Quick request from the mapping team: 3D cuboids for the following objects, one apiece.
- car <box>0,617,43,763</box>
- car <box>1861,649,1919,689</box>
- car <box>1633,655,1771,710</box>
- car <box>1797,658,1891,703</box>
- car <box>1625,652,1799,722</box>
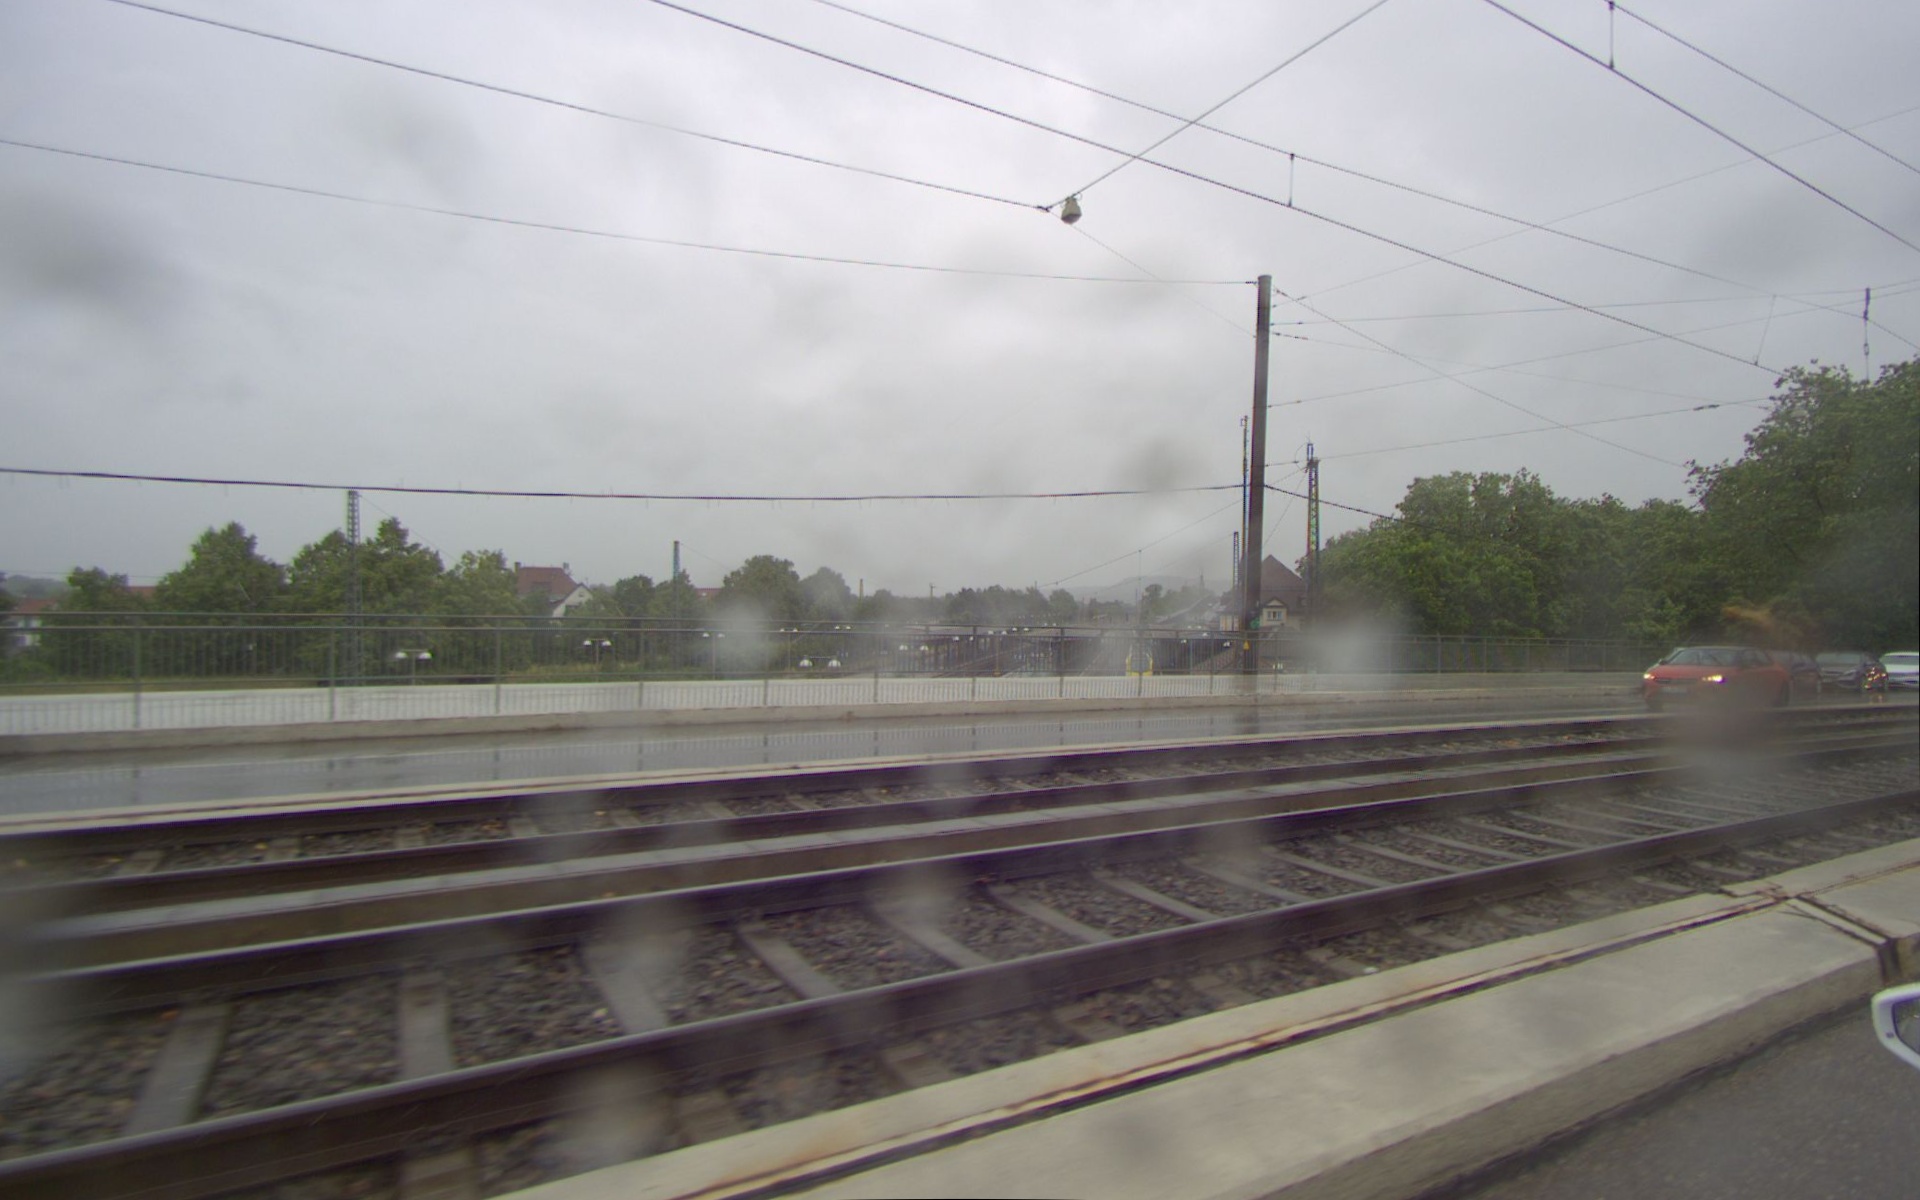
[{"bbox_3d":[-11.844,0.903,9.597,4.274,1.475,1.612,1,-3,-32],"label":"car"},{"bbox_3d":[36.399,2.613,38.432,4.838,1.418,1.499,1,-6,-32],"label":"car"},{"bbox_3d":[22.252,2.426,30.089,4.271,1.475,1.854,1,-3,-32],"label":"car"},{"bbox_3d":[31.168,2.808,35.385,4.364,1.419,1.496,1,-3,-35],"label":"car"},{"bbox_3d":[17.396,1.940,23.219,4.036,1.333,1.790,1,1,-30],"label":"car"}]
